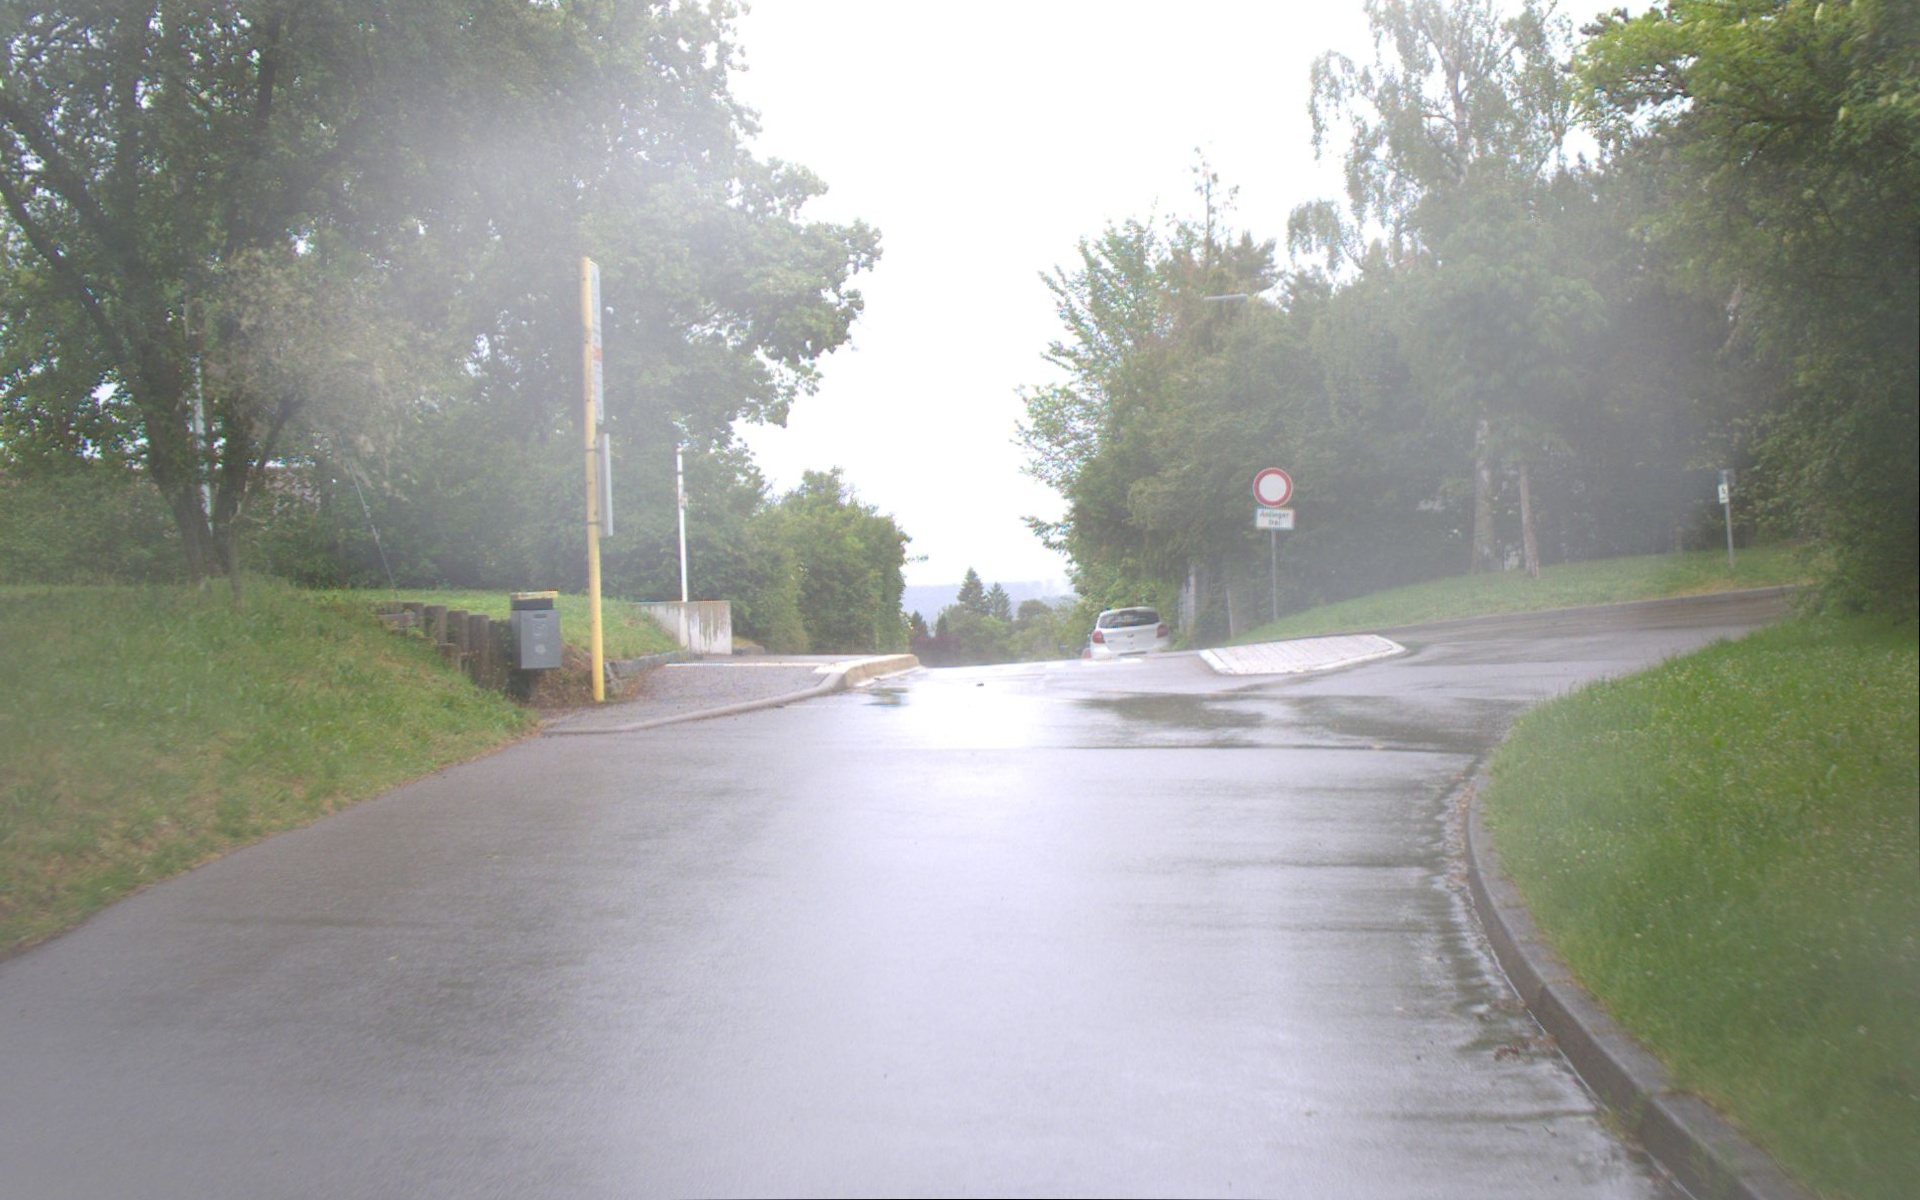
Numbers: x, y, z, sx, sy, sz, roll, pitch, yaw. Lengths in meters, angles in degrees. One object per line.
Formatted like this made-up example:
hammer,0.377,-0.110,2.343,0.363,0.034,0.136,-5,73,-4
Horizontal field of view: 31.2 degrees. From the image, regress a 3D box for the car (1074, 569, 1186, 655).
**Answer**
car,3.516,0.268,70.445,1.994,1.578,3.998,-2,-2,7
